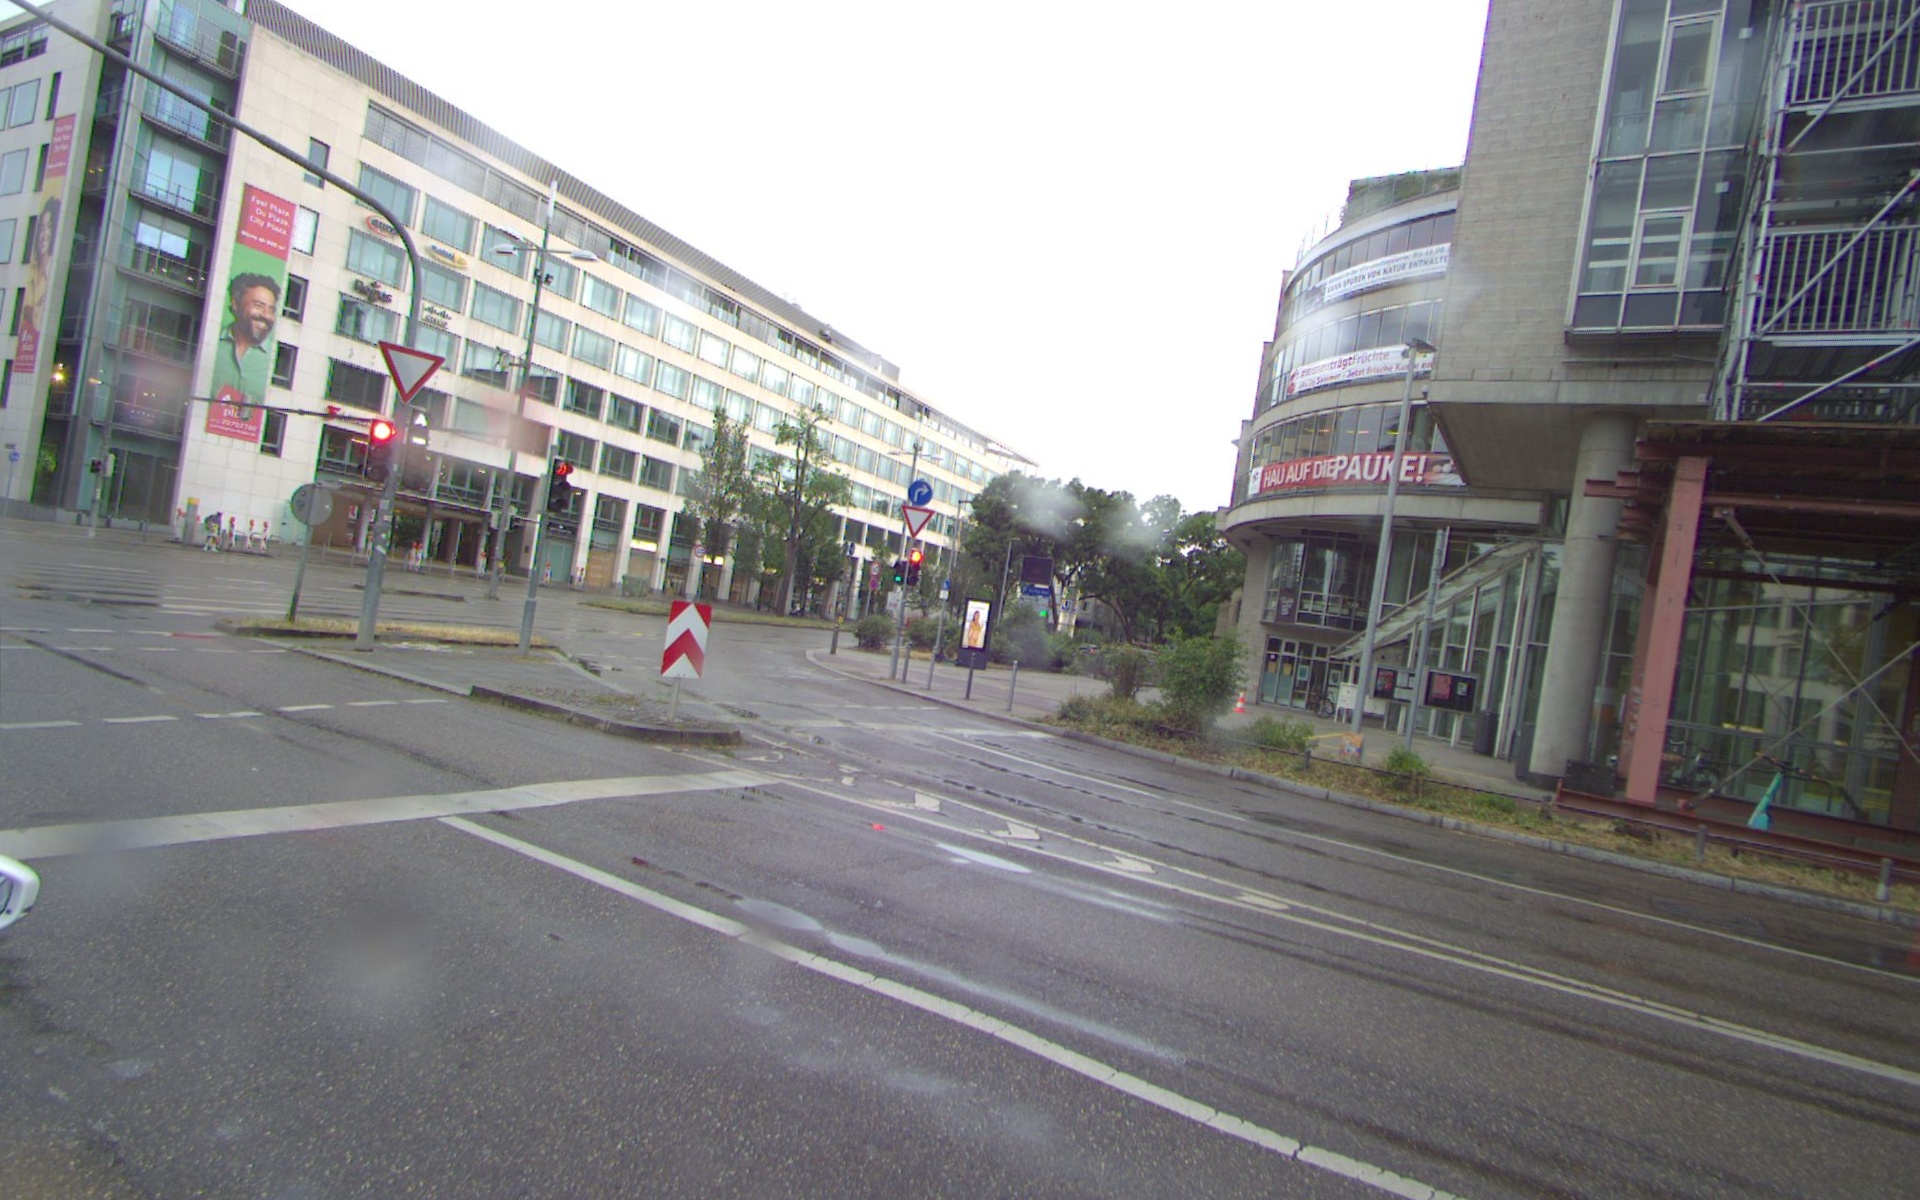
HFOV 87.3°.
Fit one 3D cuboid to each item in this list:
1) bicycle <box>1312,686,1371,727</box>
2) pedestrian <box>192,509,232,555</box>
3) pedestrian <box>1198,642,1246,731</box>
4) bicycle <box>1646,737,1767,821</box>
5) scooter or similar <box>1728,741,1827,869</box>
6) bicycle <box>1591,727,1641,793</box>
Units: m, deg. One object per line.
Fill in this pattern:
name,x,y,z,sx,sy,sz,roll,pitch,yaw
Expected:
bicycle,13.464,3.749,35.525,1.753,1.208,0.586,6,-1,29
pedestrian,-32.238,-2.930,43.373,0.822,1.838,0.963,6,-1,31
pedestrian,5.629,1.848,21.648,0.776,1.796,0.781,7,-1,13
bicycle,13.494,3.226,18.224,1.584,1.208,0.587,7,-1,6
scooter or similar,9.230,2.270,11.413,0.577,1.208,1.780,7,-1,34
bicycle,13.613,3.288,20.899,0.576,1.208,1.614,7,-2,27
